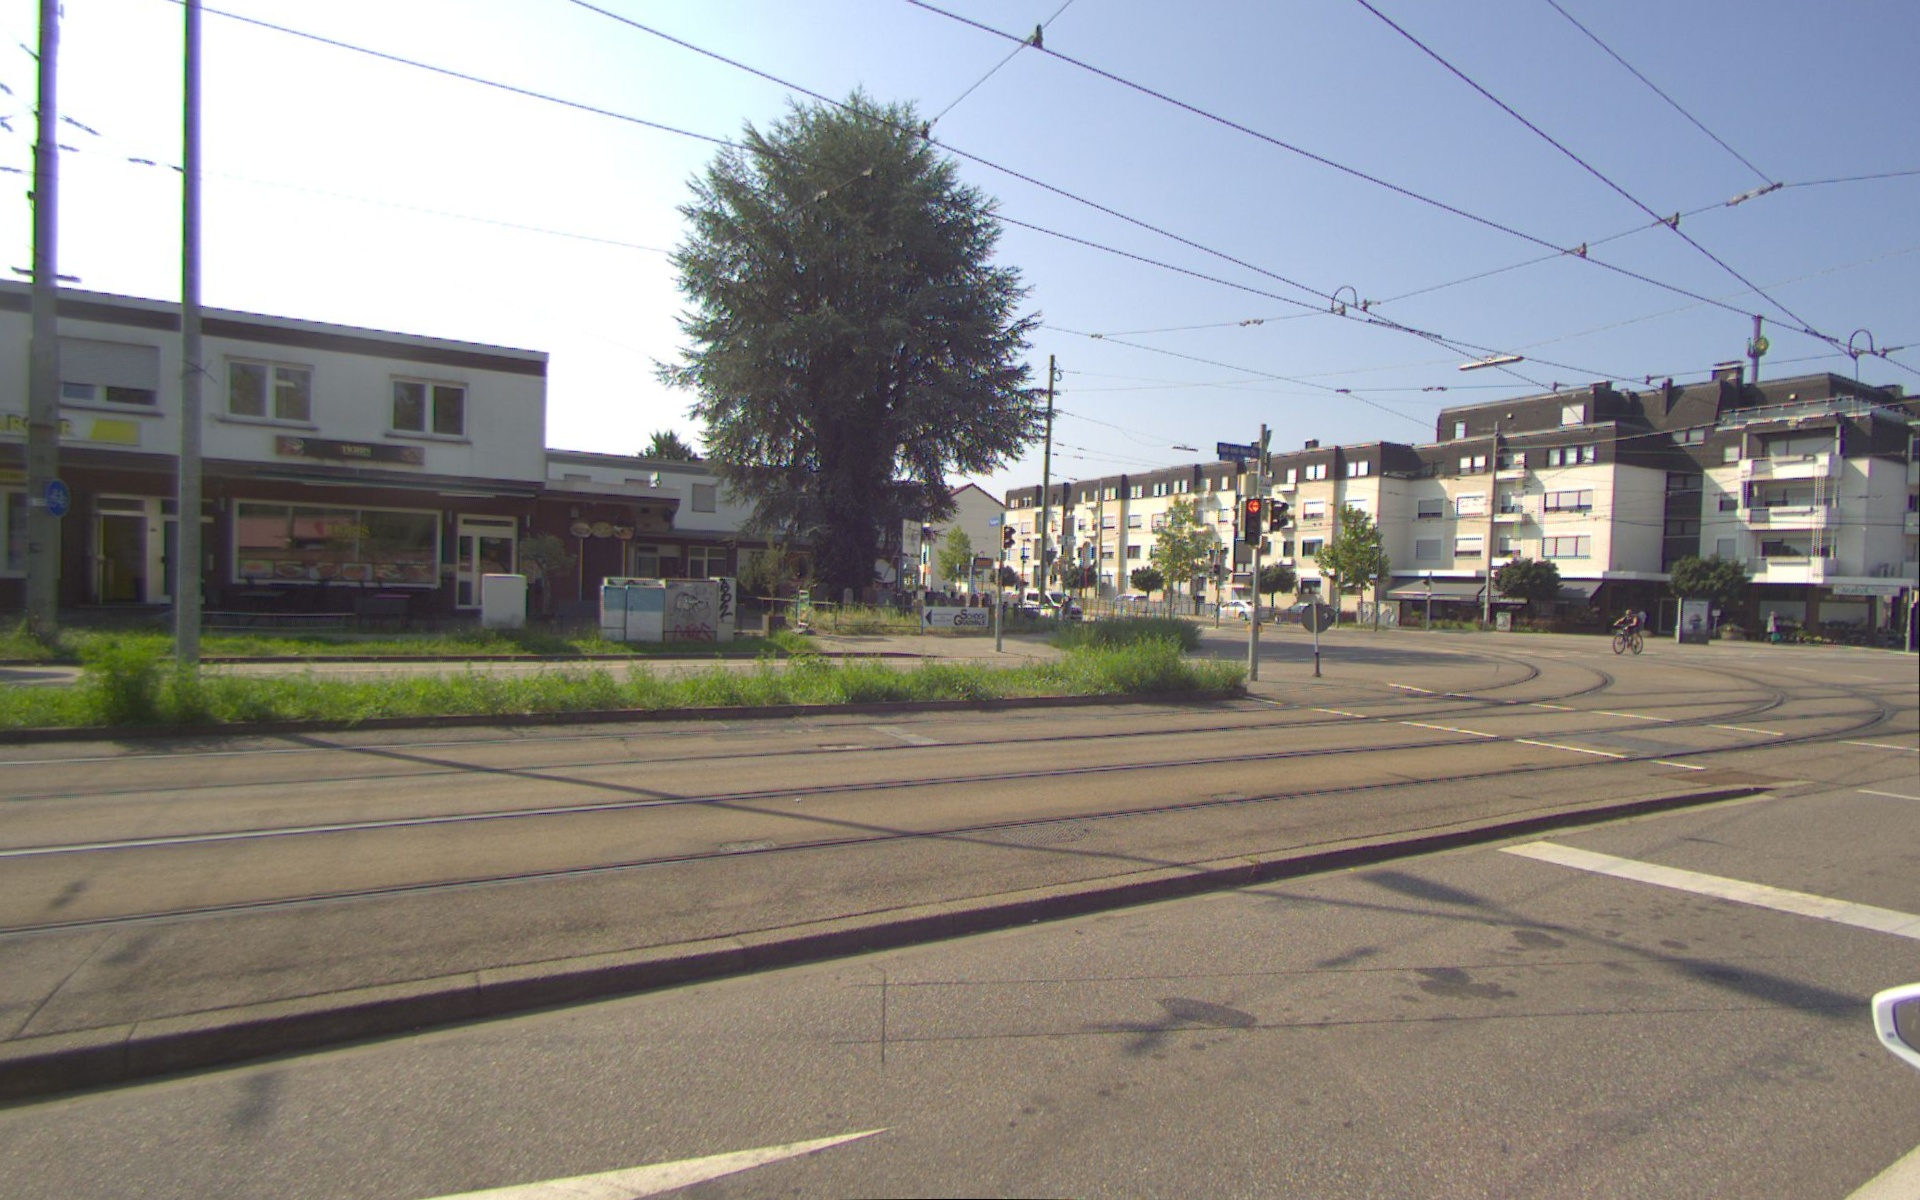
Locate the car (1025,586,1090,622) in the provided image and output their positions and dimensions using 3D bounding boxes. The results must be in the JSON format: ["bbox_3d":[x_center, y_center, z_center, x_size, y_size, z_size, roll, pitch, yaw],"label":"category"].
[{"bbox_3d":[5.517,0.209,57.580,1.800,1.912,3.998,1,2,-27],"label":"car"}]

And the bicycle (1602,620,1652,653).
[{"bbox_3d":[24.579,1.345,36.995,2.180,1.195,0.573,1,-1,-28],"label":"bicycle"}]

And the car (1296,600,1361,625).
[{"bbox_3d":[26.123,0.860,71.328,1.907,1.527,4.089,2,2,-30],"label":"car"}]

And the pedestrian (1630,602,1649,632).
[{"bbox_3d":[40.386,1.025,59.716,0.689,1.764,0.677,2,-1,-28],"label":"pedestrian"}]

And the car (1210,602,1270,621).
[{"bbox_3d":[19.710,0.808,70.760,1.653,1.316,4.090,2,-1,-30],"label":"car"}]

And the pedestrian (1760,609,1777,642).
[{"bbox_3d":[43.236,1.370,53.700,0.589,1.768,0.565,1,-1,27],"label":"pedestrian"}]

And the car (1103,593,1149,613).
[{"bbox_3d":[13.596,0.250,82.505,1.653,1.500,3.887,2,-1,-30],"label":"car"}]

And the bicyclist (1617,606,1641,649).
[{"bbox_3d":[24.666,1.013,37.045,0.483,1.543,0.566,2,-1,-28],"label":"bicyclist"}]
